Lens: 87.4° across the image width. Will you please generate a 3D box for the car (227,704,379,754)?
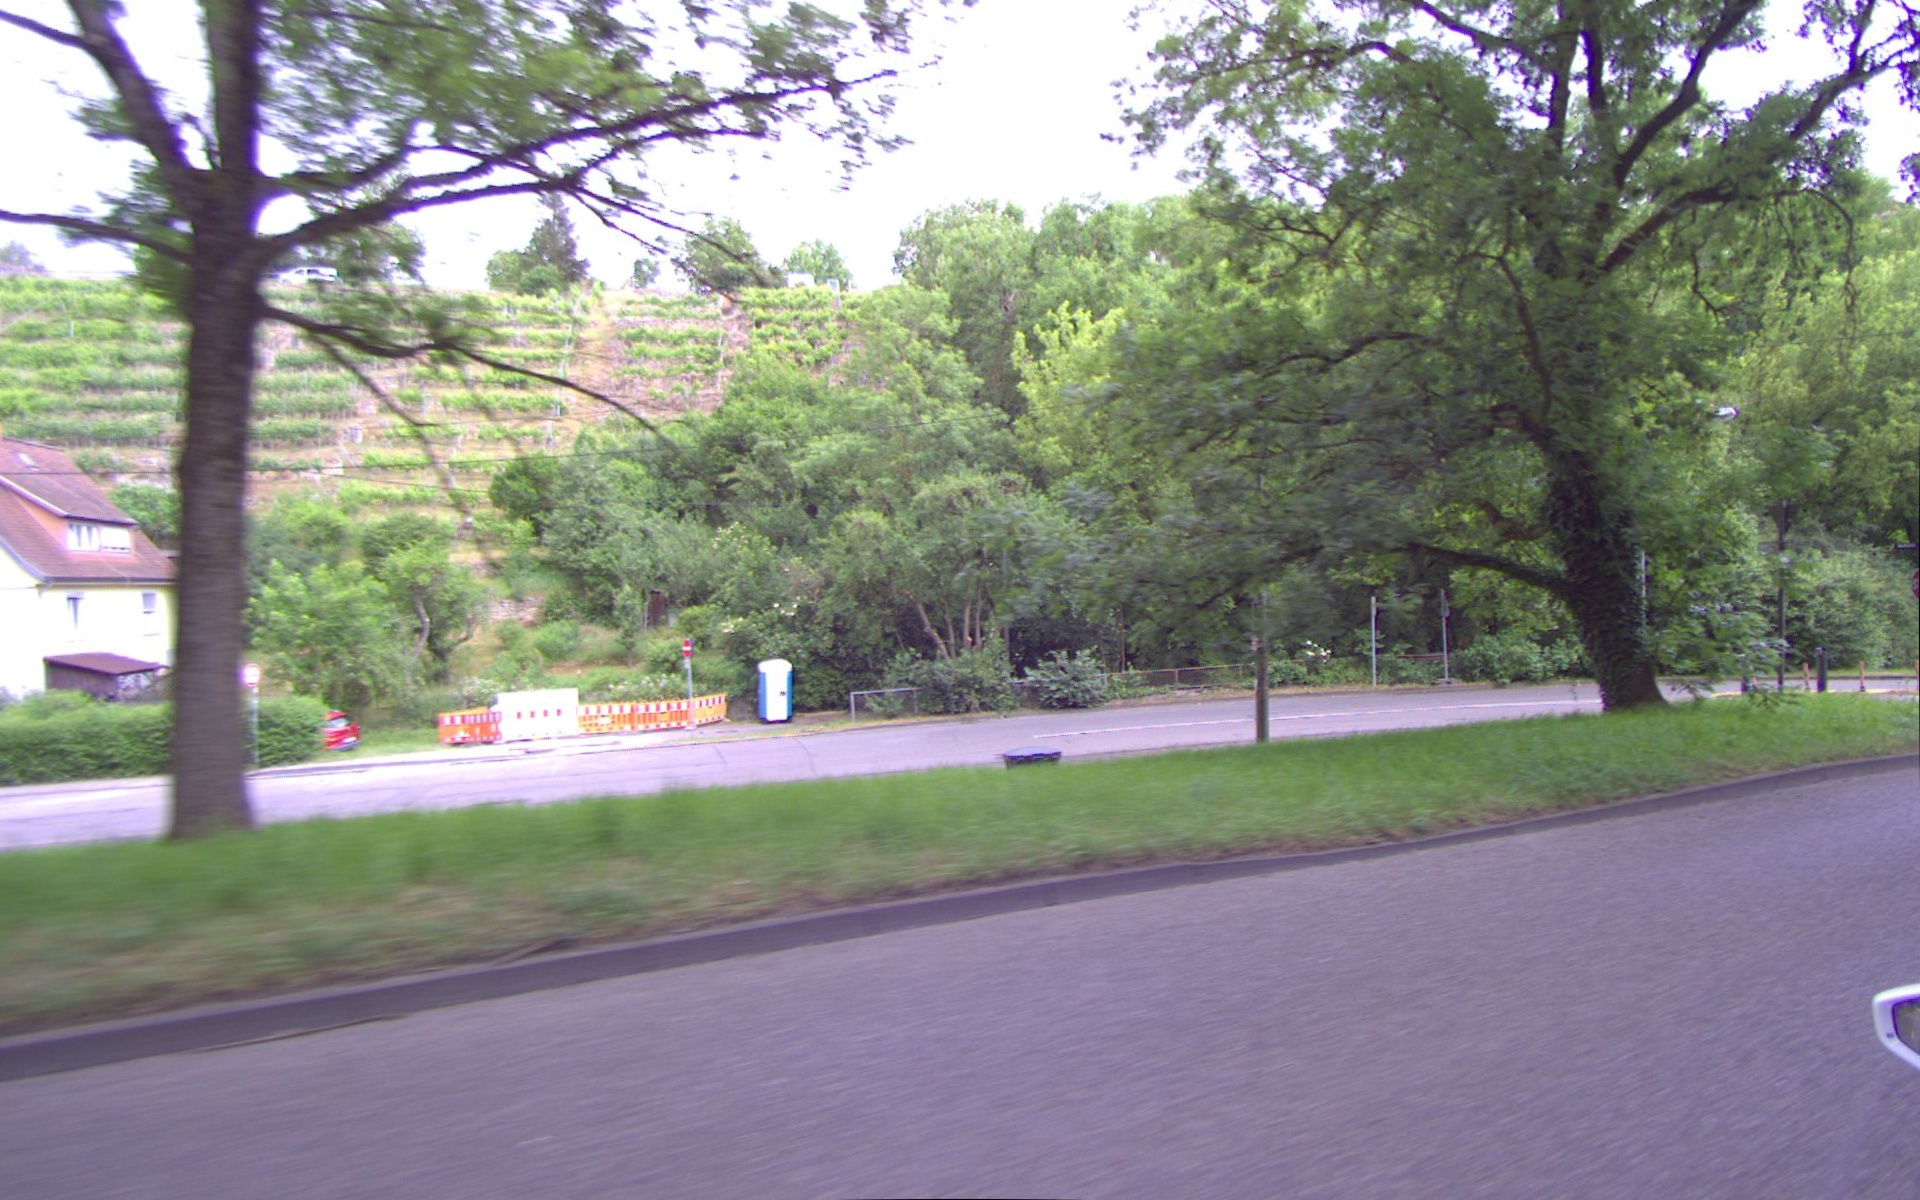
[{"bbox_3d":[-21.079,4.132,32.287,3.919,1.407,1.759,-3,-5,10],"label":"car"}]
